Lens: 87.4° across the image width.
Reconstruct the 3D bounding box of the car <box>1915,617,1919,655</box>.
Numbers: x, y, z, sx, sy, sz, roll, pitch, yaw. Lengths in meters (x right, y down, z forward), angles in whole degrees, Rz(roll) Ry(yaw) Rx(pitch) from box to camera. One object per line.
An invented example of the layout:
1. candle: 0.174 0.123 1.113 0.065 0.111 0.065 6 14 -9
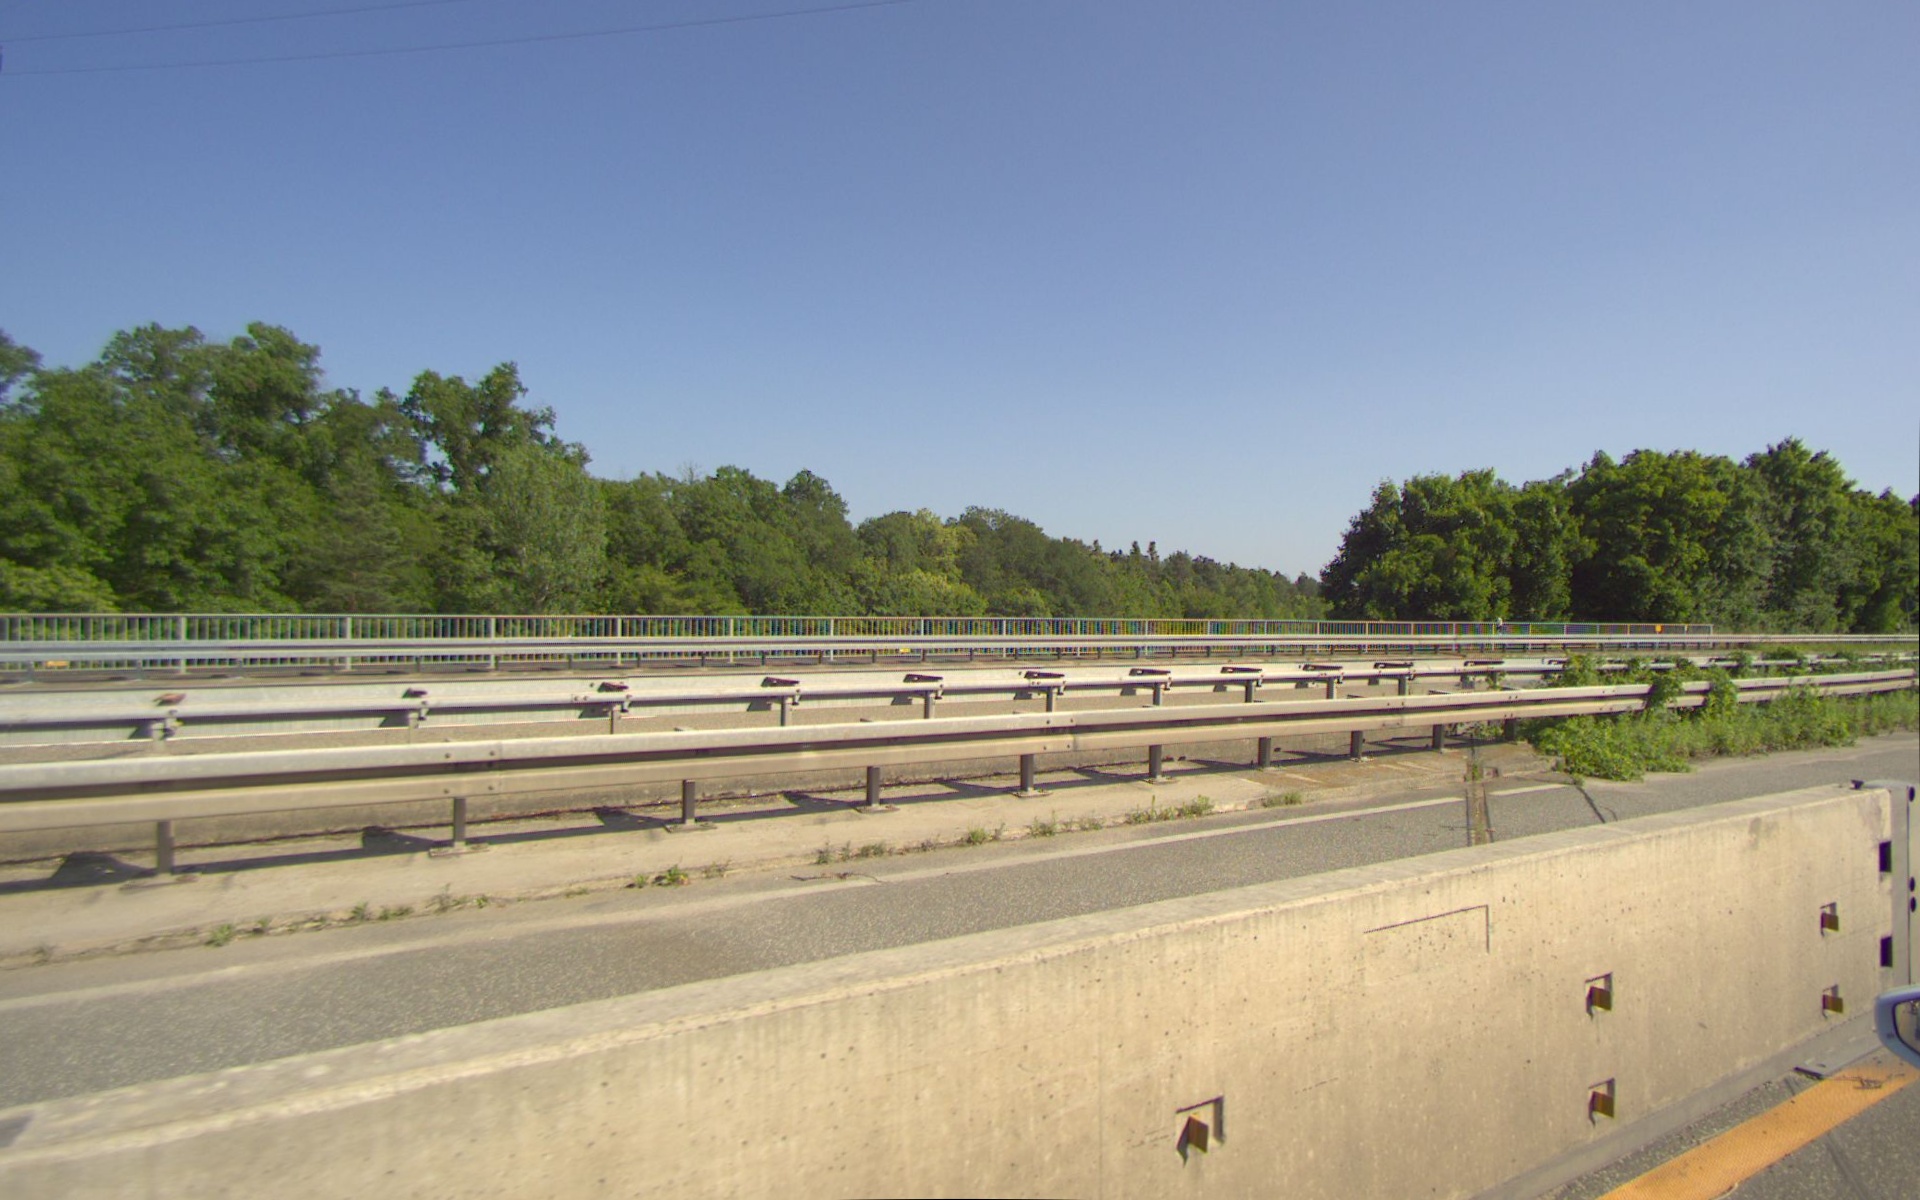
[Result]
1. car: 42.054 1.495 42.146 4.370 1.604 1.755 1 -1 -30
